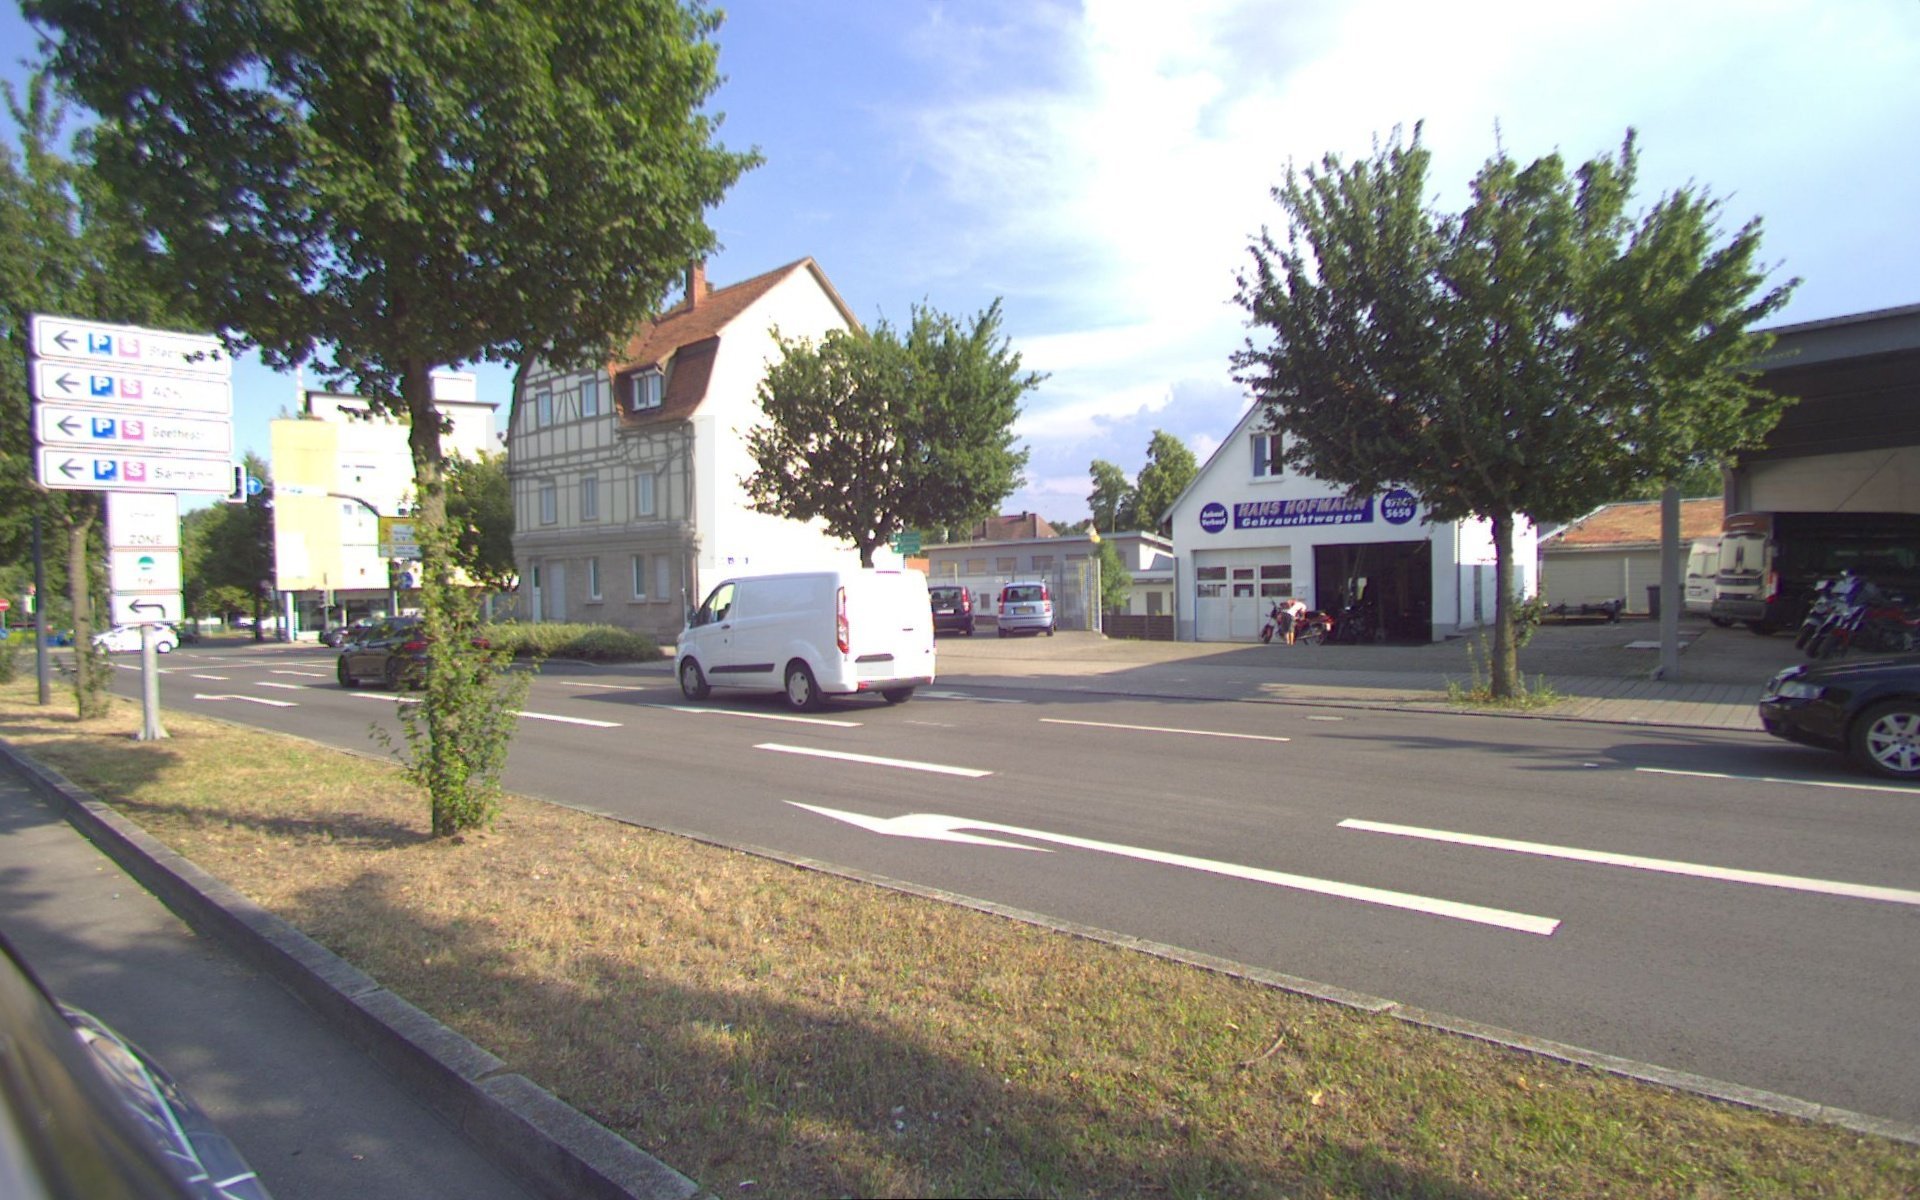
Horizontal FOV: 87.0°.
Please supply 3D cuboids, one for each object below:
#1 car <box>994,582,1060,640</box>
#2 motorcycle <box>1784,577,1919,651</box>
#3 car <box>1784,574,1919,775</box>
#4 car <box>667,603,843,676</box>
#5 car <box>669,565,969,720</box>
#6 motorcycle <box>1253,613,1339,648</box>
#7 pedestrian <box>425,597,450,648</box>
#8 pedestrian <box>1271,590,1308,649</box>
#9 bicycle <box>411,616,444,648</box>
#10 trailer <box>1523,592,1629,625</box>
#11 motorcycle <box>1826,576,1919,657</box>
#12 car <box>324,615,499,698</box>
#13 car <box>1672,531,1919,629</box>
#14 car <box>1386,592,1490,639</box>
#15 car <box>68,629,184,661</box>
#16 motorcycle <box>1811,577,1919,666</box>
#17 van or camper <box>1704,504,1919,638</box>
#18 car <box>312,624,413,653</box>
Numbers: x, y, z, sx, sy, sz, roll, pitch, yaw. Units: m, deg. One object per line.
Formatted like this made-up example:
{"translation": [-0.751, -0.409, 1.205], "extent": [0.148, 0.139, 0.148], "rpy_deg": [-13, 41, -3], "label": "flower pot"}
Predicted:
{"translation": [2.024, 0.306, 29.721], "extent": [1.746, 1.564, 3.992], "rpy_deg": [-1, 0, 6], "label": "car"}
{"translation": [16.535, 0.258, 18.715], "extent": [1.982, 1.321, 0.649], "rpy_deg": [-1, 0, 4], "label": "motorcycle"}
{"translation": [8.785, 0.527, 7.376], "extent": [4.243, 1.508, 1.788], "rpy_deg": [-1, 0, 41], "label": "car"}
{"translation": [-4.891, 0.877, 23.878], "extent": [4.192, 1.454, 1.816], "rpy_deg": [-1, 3, 41], "label": "car"}
{"translation": [-2.274, 0.558, 15.109], "extent": [4.947, 1.938, 1.802], "rpy_deg": [-1, 0, 45], "label": "car"}
{"translation": [9.067, 0.814, 27.415], "extent": [2.211, 0.927, 0.500], "rpy_deg": [-1, 0, 44], "label": "motorcycle"}
{"translation": [-20.755, 0.889, 40.183], "extent": [0.588, 1.997, 0.690], "rpy_deg": [-1, 0, 42], "label": "pedestrian"}
{"translation": [8.761, 0.509, 26.893], "extent": [0.643, 1.535, 0.675], "rpy_deg": [-1, 0, -42], "label": "pedestrian"}
{"translation": [-21.525, 1.279, 40.906], "extent": [1.514, 1.231, 0.672], "rpy_deg": [-1, 0, 42], "label": "bicycle"}
{"translation": [19.071, 0.245, 31.293], "extent": [2.448, 0.831, 3.152], "rpy_deg": [-1, 2, 38], "label": "trailer"}
{"translation": [15.741, 0.261, 16.857], "extent": [1.982, 1.321, 0.649], "rpy_deg": [-1, 0, 4], "label": "motorcycle"}
{"translation": [-11.088, 1.058, 20.363], "extent": [4.105, 1.462, 1.751], "rpy_deg": [-1, 0, 41], "label": "car"}
{"translation": [20.774, -0.478, 25.302], "extent": [4.324, 2.266, 2.201], "rpy_deg": [-1, 0, 0], "label": "car"}
{"translation": [15.332, 0.461, 32.357], "extent": [1.886, 1.395, 4.026], "rpy_deg": [-1, 0, 43], "label": "car"}
{"translation": [-40.525, 2.166, 49.225], "extent": [1.765, 1.364, 4.078], "rpy_deg": [-1, 0, 38], "label": "car"}
{"translation": [14.240, 0.313, 15.278], "extent": [1.991, 1.321, 0.666], "rpy_deg": [-1, 0, 18], "label": "motorcycle"}
{"translation": [19.264, -0.594, 21.598], "extent": [4.990, 2.700, 1.991], "rpy_deg": [-1, 0, 15], "label": "van or camper"}
{"translation": [-33.122, 2.109, 56.147], "extent": [4.595, 1.364, 1.770], "rpy_deg": [-1, 0, -41], "label": "car"}
